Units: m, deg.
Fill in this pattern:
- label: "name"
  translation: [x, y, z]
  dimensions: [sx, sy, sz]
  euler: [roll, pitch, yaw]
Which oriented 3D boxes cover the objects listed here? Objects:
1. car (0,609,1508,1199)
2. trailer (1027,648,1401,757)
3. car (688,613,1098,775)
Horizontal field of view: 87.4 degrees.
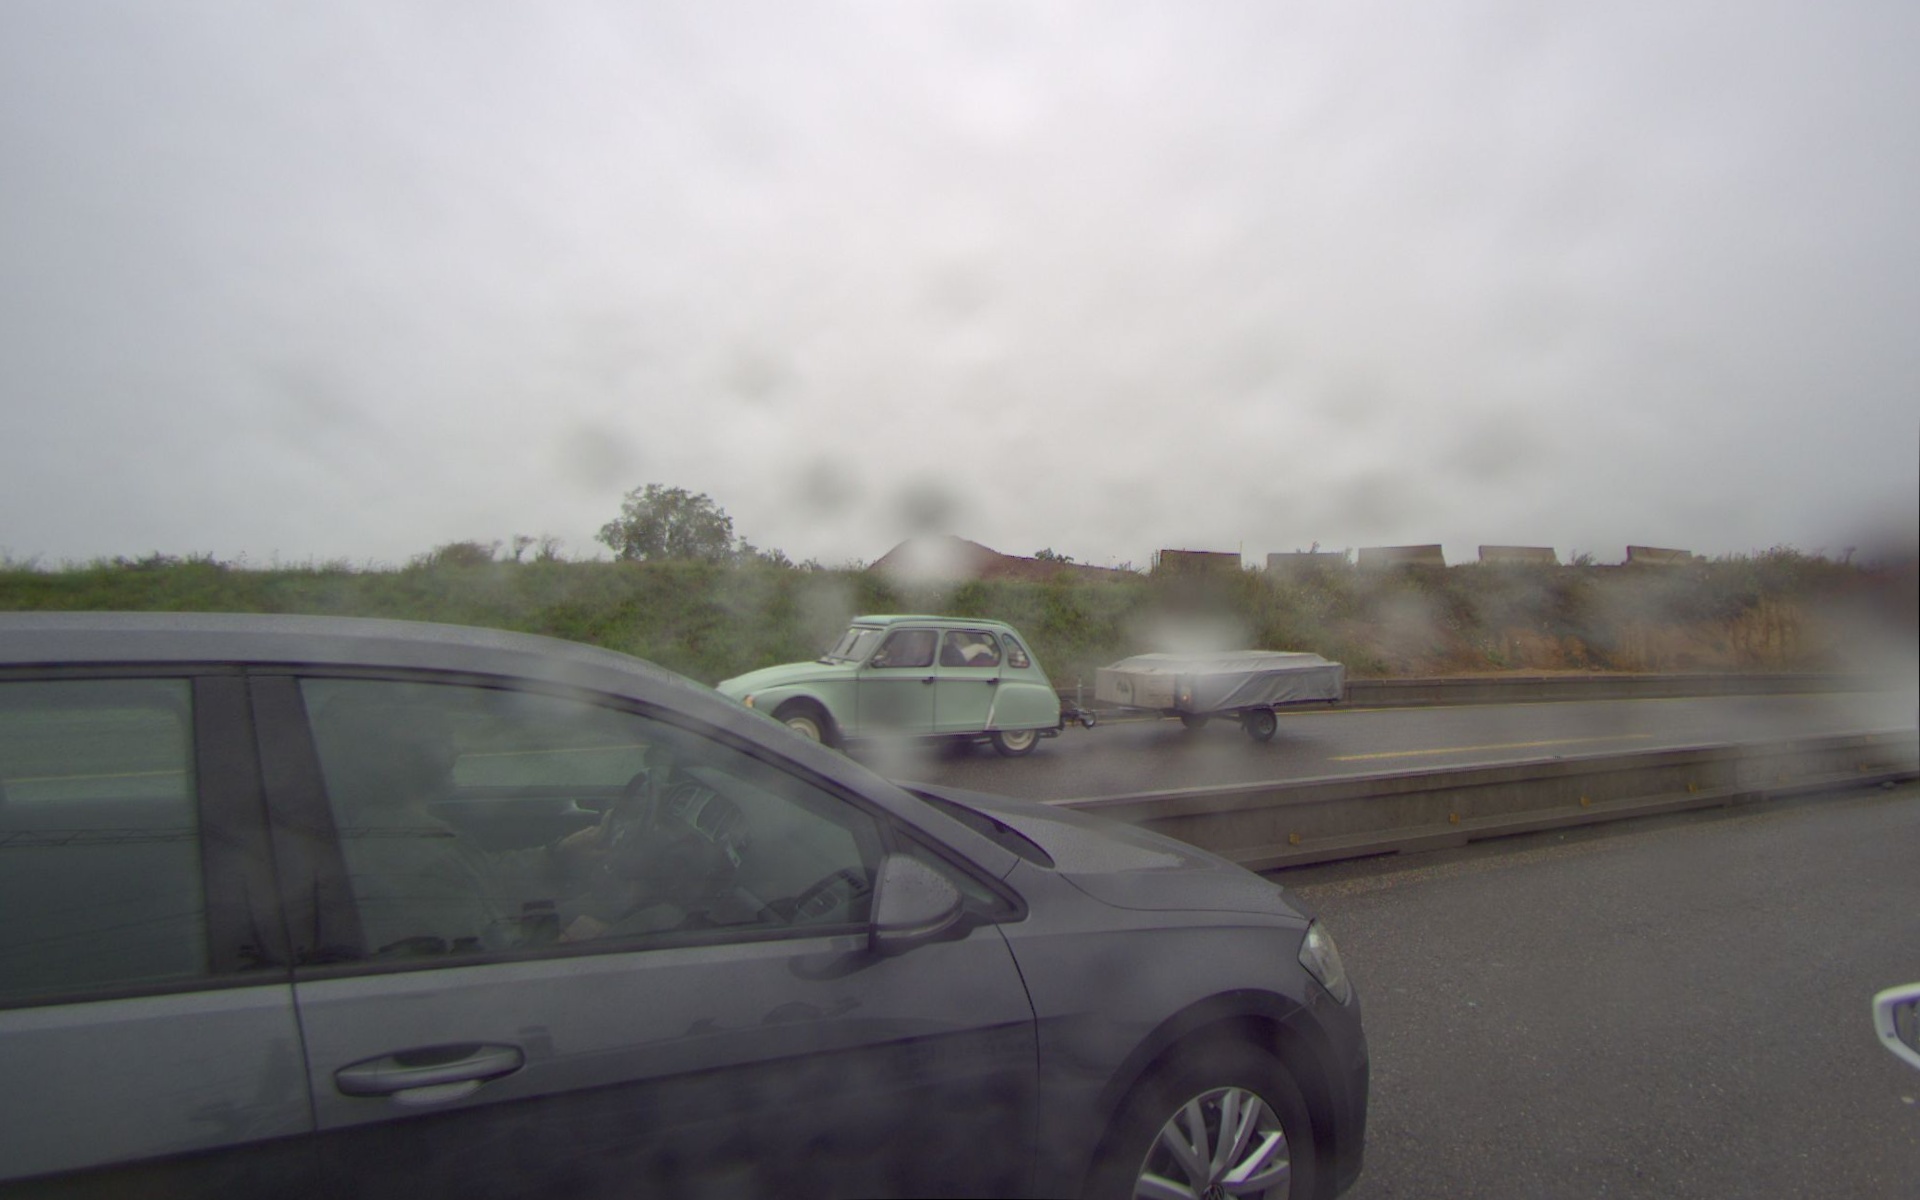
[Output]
- label: "car"
  translation: [-0.823, 0.776, 2.122]
  dimensions: [4.033, 1.441, 1.641]
  euler: [2, -1, -30]
- label: "trailer"
  translation: [3.225, 1.176, 12.481]
  dimensions: [4.653, 1.103, 1.574]
  euler: [1, -1, -28]
- label: "car"
  translation: [-0.651, 0.878, 10.425]
  dimensions: [3.949, 1.401, 1.574]
  euler: [1, -1, -28]
